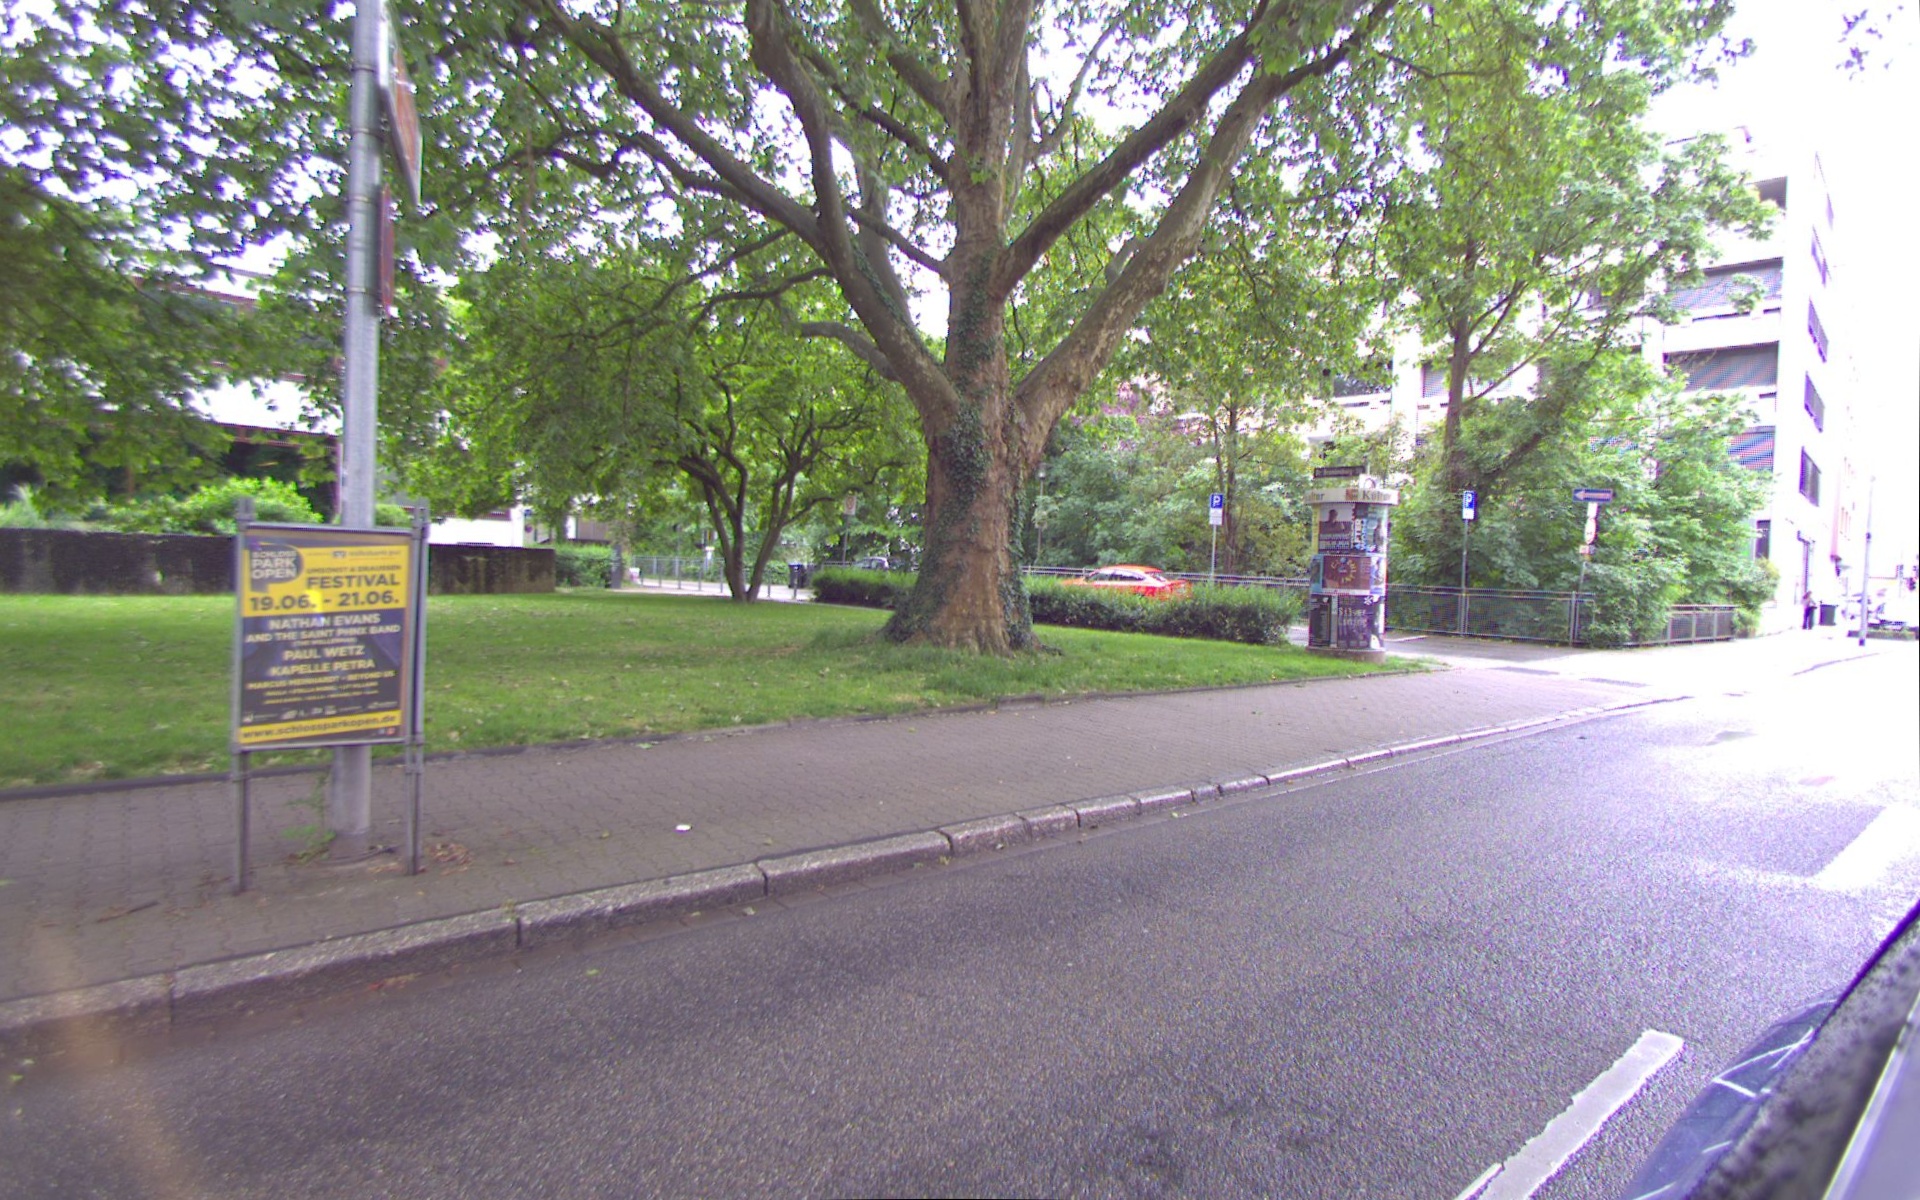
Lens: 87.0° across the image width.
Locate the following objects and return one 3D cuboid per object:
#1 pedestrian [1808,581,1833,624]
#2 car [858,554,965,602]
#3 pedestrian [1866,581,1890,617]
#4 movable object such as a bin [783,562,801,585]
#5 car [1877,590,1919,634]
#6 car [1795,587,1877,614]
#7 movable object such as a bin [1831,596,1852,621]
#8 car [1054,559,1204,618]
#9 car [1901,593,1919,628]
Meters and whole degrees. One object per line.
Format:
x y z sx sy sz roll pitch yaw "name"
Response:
34.991 0.113 41.148 0.598 1.679 0.681 7 4 42 "pedestrian"
-1.814 -0.825 37.089 1.707 1.590 3.925 0 3 -45 "car"
56.390 -0.091 62.166 0.797 2.179 0.732 2 1 26 "pedestrian"
-7.174 -1.132 43.160 0.573 0.986 0.512 0 0 -41 "movable object such as a bin"
37.499 0.460 39.825 3.741 1.577 1.705 0 4 -43 "car"
61.960 0.007 71.650 1.770 1.604 4.155 0 3 -41 "car"
42.103 0.405 48.335 0.505 1.117 0.680 0 2 -42 "movable object such as a bin"
4.915 -0.389 29.743 3.989 1.499 1.847 5 5 44 "car"
42.525 0.492 44.090 4.493 1.437 1.834 0 3 -43 "car"
